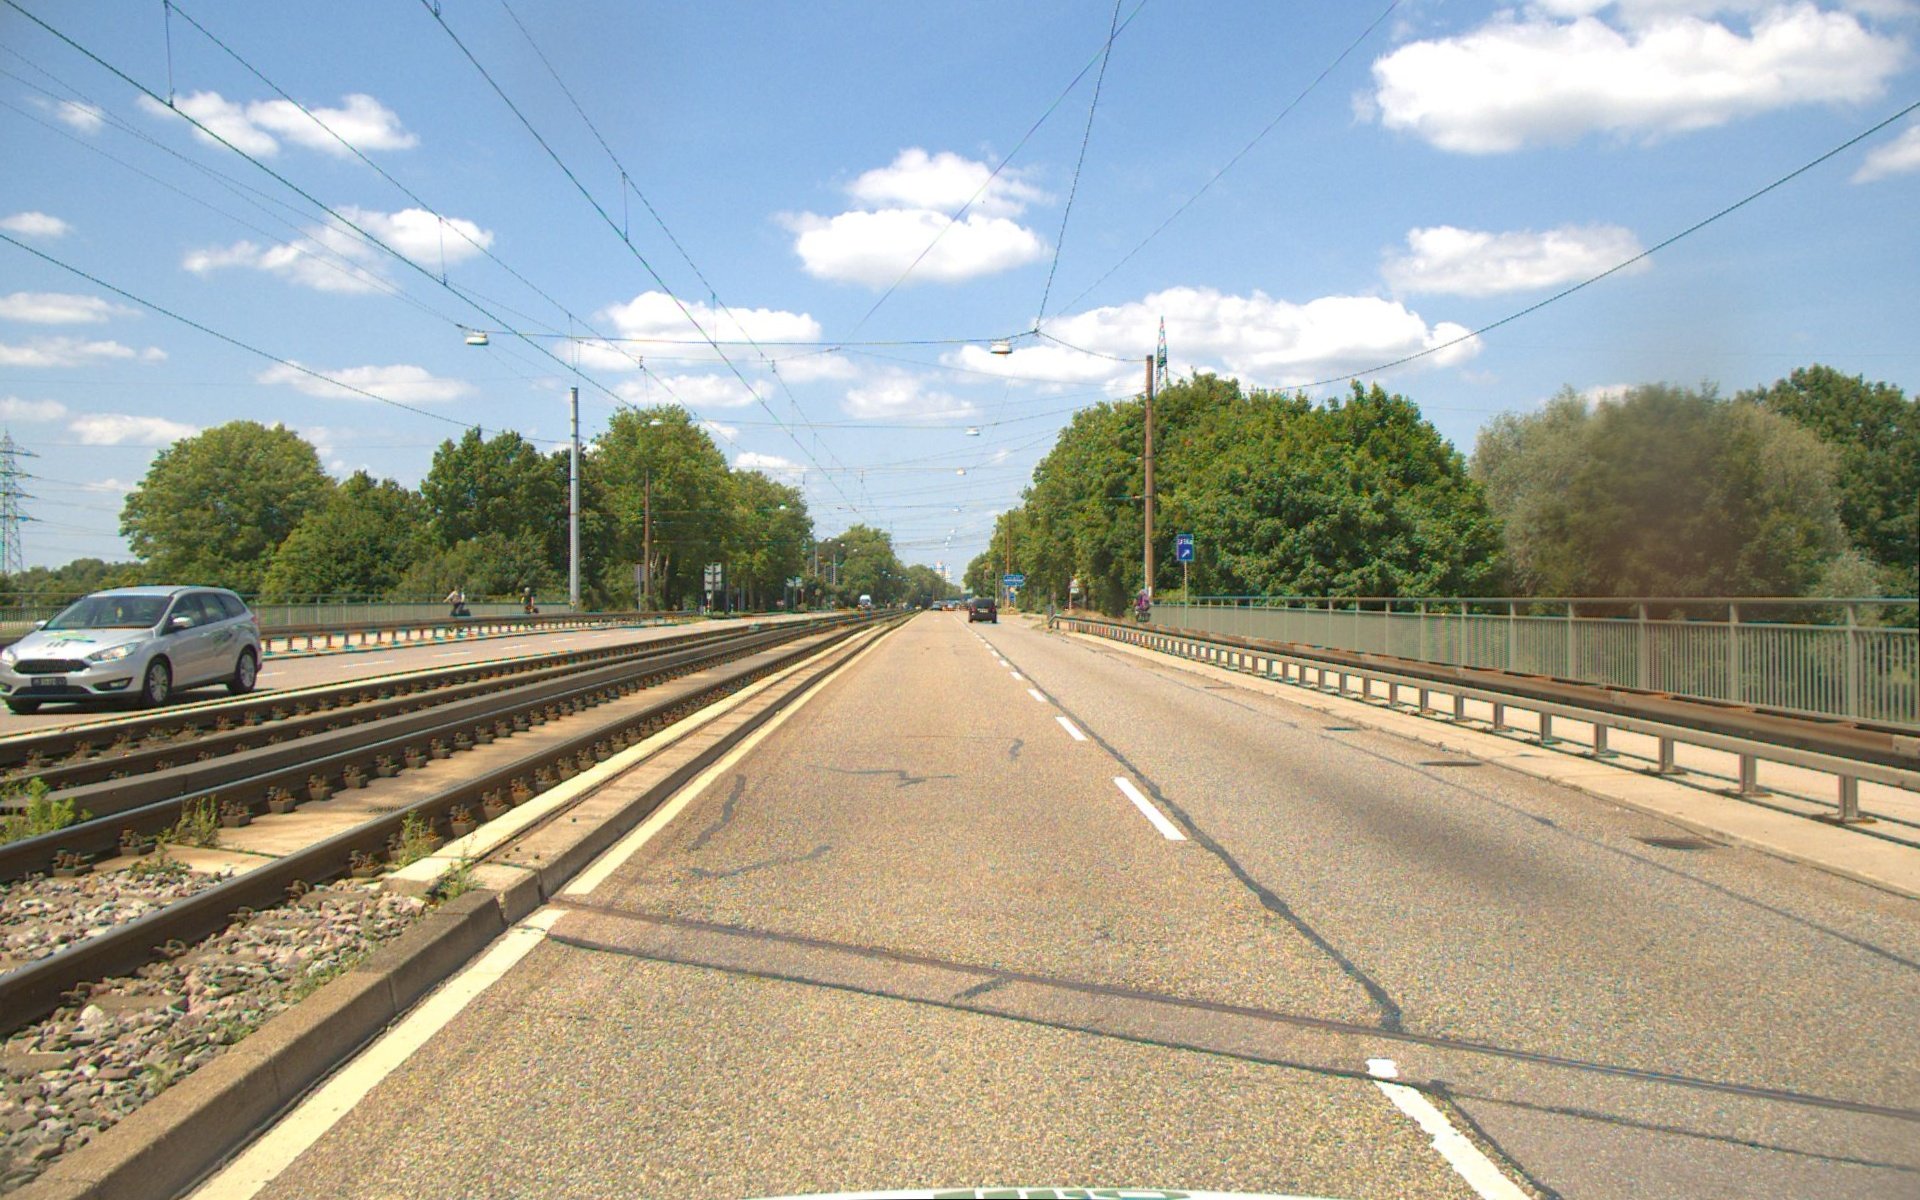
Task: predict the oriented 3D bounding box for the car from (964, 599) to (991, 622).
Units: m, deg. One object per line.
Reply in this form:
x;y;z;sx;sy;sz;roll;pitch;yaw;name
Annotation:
1.084;0.639;104.878;1.554;1.366;3.271;0;1;-2;car

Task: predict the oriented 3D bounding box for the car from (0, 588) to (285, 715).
-10.536;0.595;21.466;1.676;1.445;4.623;-1;0;0;car

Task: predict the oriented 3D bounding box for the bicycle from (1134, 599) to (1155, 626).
7.086;0.485;63.549;0.548;1.042;1.847;0;0;-1;bicycle

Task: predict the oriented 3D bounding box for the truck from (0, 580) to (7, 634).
-110.055;0.516;179.996;10.680;5.734;3.258;3;1;-34;truck

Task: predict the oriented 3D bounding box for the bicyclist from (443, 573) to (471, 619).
-18.630;-0.147;61.280;0.747;1.650;0.838;1;0;-1;bicyclist

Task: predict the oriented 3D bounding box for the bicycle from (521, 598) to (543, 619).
-18.631;0.353;72.029;0.512;0.858;2.035;2;1;-3;bicycle

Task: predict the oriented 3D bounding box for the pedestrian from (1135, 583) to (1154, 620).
7.082;0.064;63.589;0.615;1.398;1.050;0;0;-1;pedestrian

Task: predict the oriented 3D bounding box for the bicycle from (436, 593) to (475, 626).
-18.653;0.349;61.180;0.839;1.206;2.061;1;0;-1;bicycle
